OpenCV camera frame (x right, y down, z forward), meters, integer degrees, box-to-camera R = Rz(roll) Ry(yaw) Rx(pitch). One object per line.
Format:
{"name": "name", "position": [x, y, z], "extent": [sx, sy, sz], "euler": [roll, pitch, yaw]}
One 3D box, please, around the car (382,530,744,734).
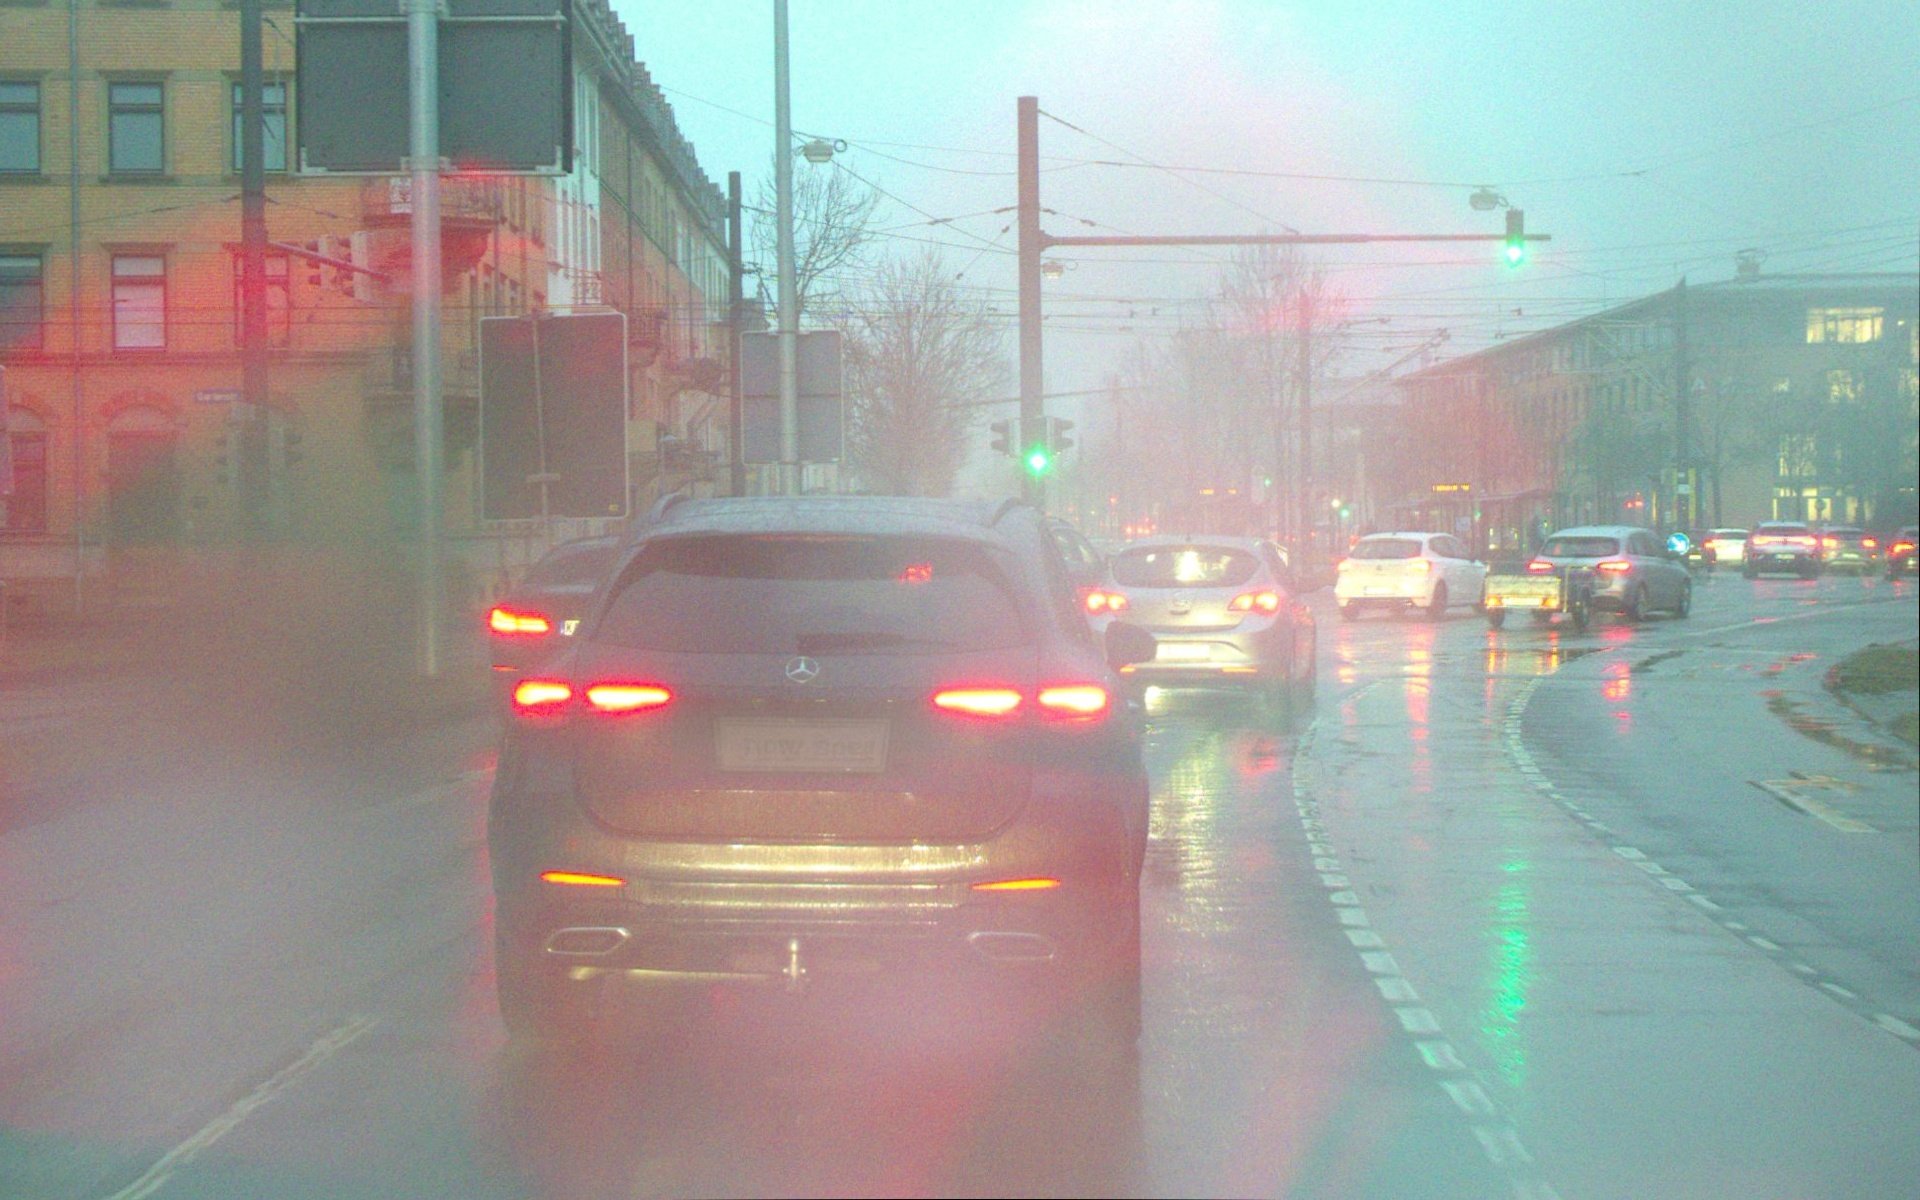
{"name": "car", "position": [-2.945, 0.190, 26.363], "extent": [1.994, 1.393, 4.000], "euler": [-1, 1, 5]}

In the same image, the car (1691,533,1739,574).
{"name": "car", "position": [26.408, -1.629, 120.244], "extent": [1.593, 1.380, 3.524], "euler": [-1, 1, 12]}

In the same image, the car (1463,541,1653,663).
{"name": "car", "position": [9.302, 0.004, 53.204], "extent": [1.996, 1.759, 3.995], "euler": [0, 2, 24]}

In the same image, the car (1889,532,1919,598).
{"name": "car", "position": [24.640, -0.904, 87.736], "extent": [1.746, 1.606, 3.997], "euler": [-1, 1, 15]}

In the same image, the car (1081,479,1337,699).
{"name": "car", "position": [2.229, -0.135, 29.811], "extent": [1.994, 1.759, 3.999], "euler": [-1, 1, 7]}

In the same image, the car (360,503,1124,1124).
{"name": "car", "position": [-0.584, 0.516, 11.071], "extent": [1.991, 1.610, 4.000], "euler": [-1, 1, 0]}

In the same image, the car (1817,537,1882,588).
{"name": "car", "position": [26.947, -1.148, 104.205], "extent": [1.746, 1.454, 3.524], "euler": [-1, 1, 12]}

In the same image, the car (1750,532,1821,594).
{"name": "car", "position": [22.573, -1.018, 93.955], "extent": [1.746, 1.606, 3.997], "euler": [-1, 1, 15]}

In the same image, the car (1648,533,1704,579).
{"name": "car", "position": [23.579, -1.458, 113.093], "extent": [1.746, 1.454, 3.524], "euler": [-1, 1, 12]}

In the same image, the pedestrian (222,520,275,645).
{"name": "pedestrian", "position": [-10.114, -0.257, 48.886], "extent": [0.467, 1.766, 0.628], "euler": [0, 1, 20]}

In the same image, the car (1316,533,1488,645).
{"name": "car", "position": [7.454, -0.206, 57.665], "extent": [1.995, 1.759, 3.996], "euler": [0, 1, 20]}
